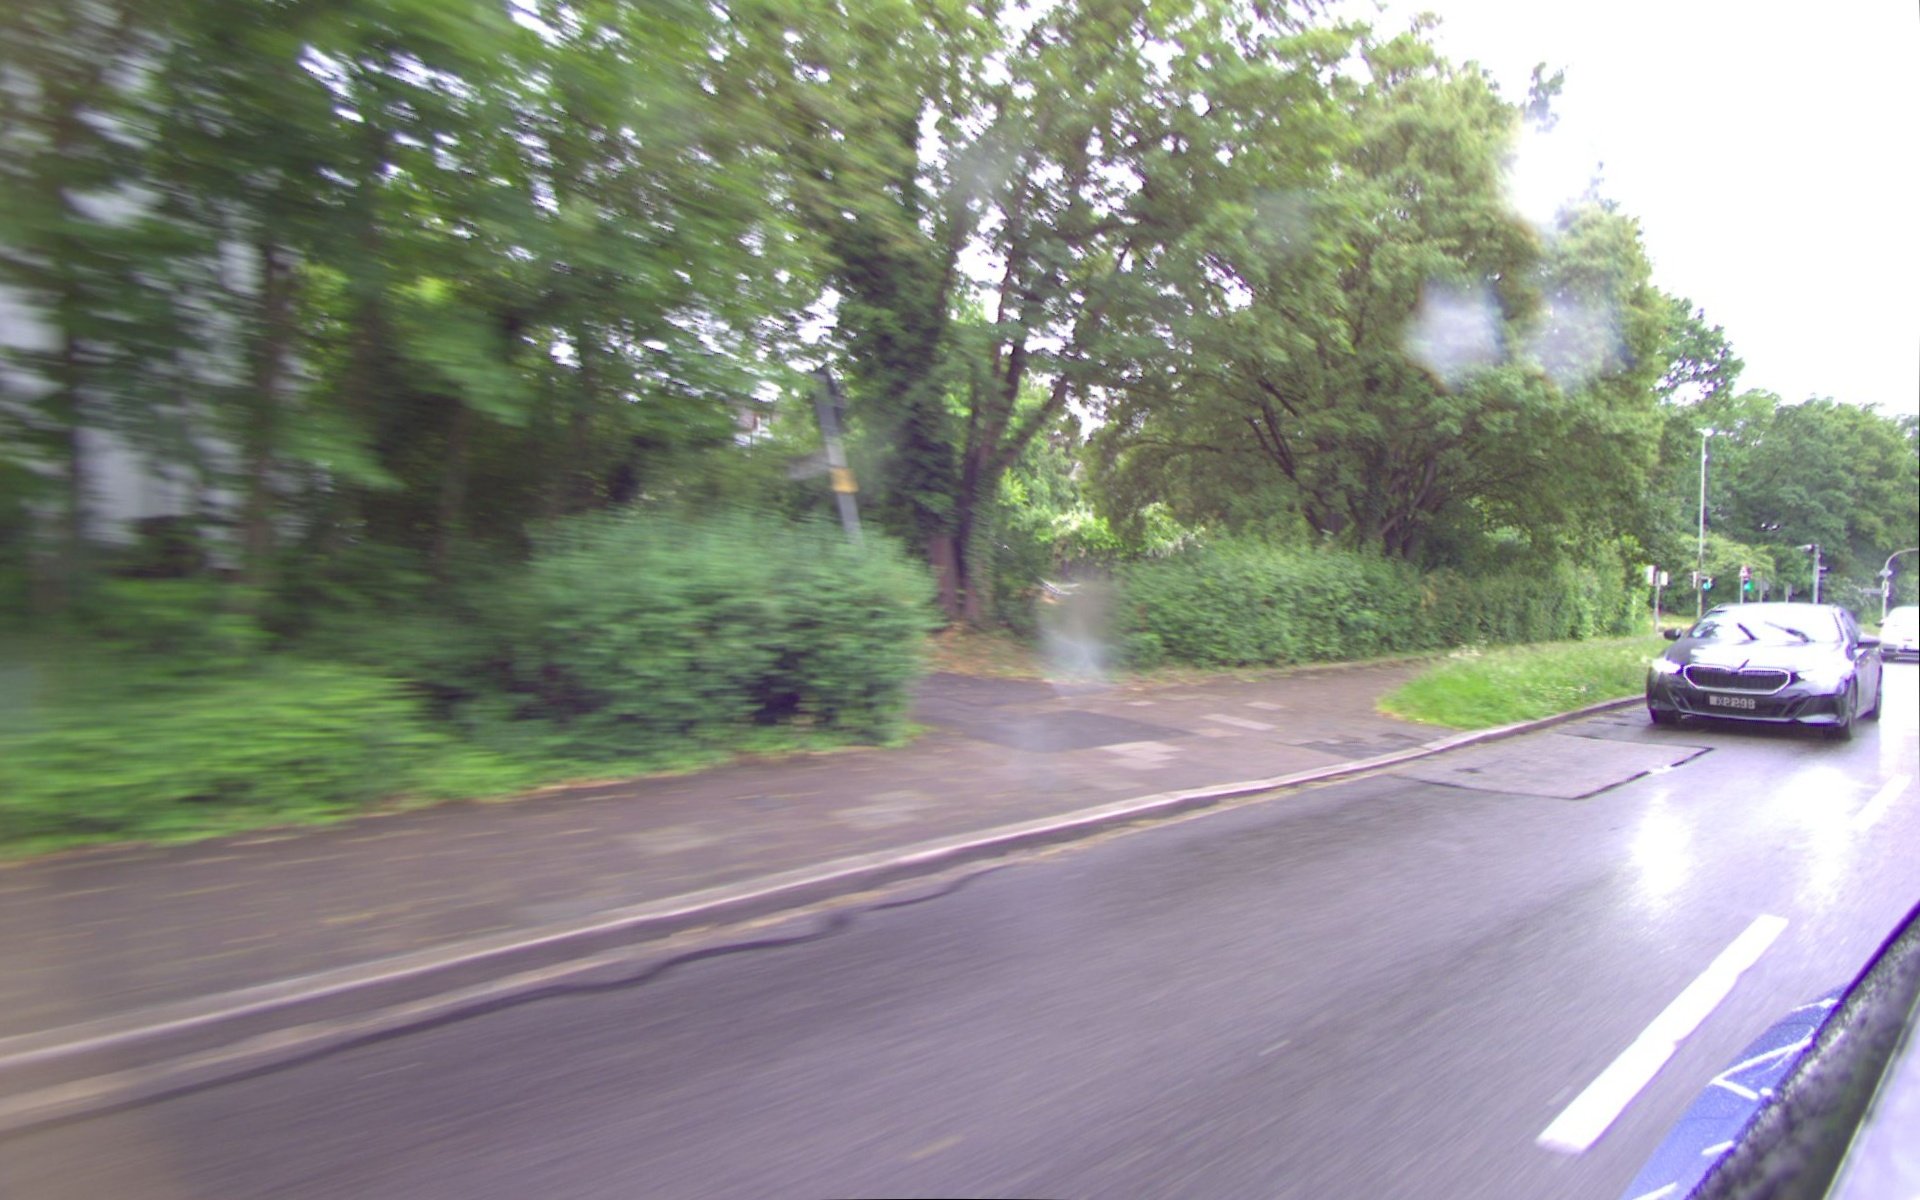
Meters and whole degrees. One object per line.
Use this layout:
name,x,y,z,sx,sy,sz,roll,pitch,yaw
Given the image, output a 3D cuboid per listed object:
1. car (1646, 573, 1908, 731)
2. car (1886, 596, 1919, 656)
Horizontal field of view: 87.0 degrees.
car,10.169,0.508,12.494,4.049,1.574,1.866,0,3,-42
car,27.387,0.734,28.282,4.049,1.575,1.813,0,2,-42
